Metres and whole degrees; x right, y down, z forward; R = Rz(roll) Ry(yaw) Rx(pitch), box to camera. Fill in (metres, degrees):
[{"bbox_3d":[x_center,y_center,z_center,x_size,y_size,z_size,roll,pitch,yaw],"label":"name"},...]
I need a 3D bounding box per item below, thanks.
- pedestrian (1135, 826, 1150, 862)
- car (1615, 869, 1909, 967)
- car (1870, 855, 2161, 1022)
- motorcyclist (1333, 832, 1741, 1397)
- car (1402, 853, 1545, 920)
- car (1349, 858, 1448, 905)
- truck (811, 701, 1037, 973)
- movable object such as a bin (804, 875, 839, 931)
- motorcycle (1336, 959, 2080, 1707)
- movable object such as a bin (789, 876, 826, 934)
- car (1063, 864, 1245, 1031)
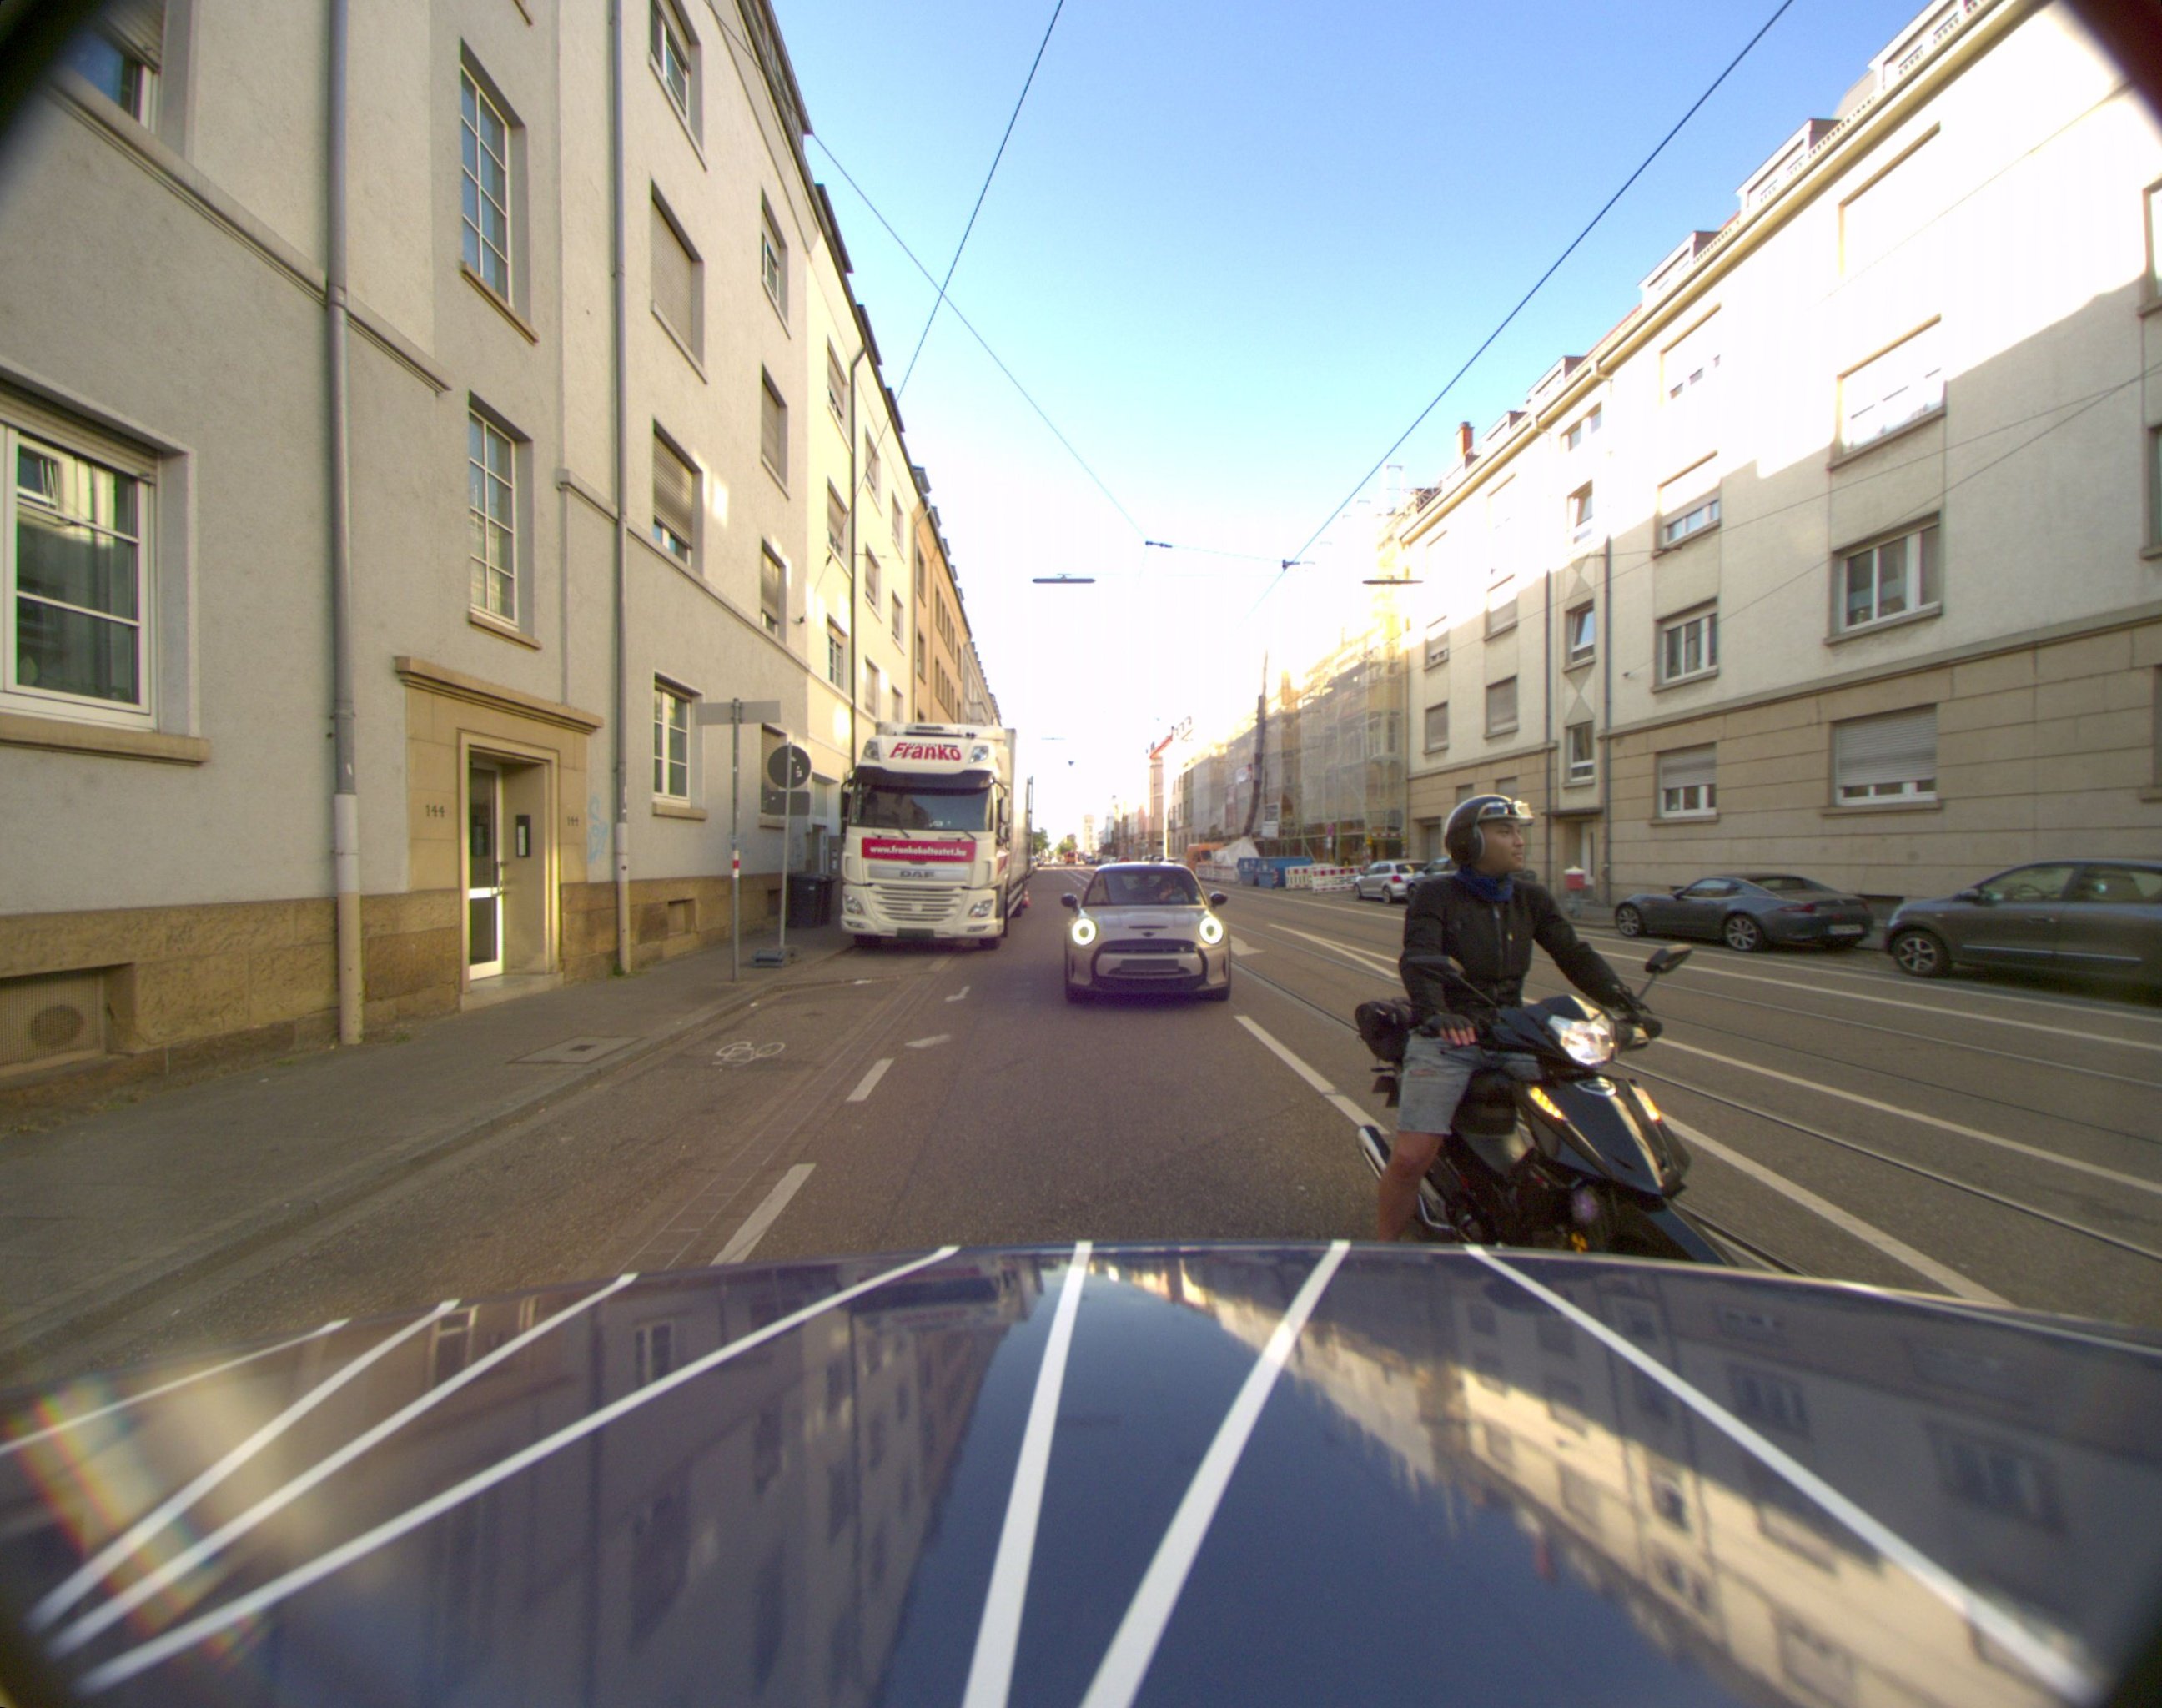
[{"bbox_3d":[7.650,-1.283,94.367,1.723,4.377,1.153,-2,1,2],"label":"pedestrian"},{"bbox_3d":[11.259,0.979,12.917,1.751,1.269,3.488,-2,1,-4],"label":"car"},{"bbox_3d":[11.419,0.837,8.411,1.670,1.563,3.496,-2,1,-2],"label":"car"},{"bbox_3d":[1.324,0.703,2.336,0.862,1.496,0.598,-2,1,1],"label":"motorcyclist"},{"bbox_3d":[10.818,0.814,21.291,1.712,1.582,4.112,-2,1,-3],"label":"car"},{"bbox_3d":[10.644,0.870,25.771,1.637,1.383,3.643,-2,1,-3],"label":"car"},{"bbox_3d":[-2.672,-0.246,17.162,2.899,3.939,11.704,-2,0,-2],"label":"truck"},{"bbox_3d":[-5.304,1.001,15.541,0.512,1.085,0.495,-2,1,-4],"label":"movable object such as a bin"},{"bbox_3d":[1.352,1.068,2.218,0.538,1.212,1.981,-2,1,1],"label":"motorcycle"},{"bbox_3d":[-5.377,0.998,14.952,0.512,1.085,0.495,-2,1,-4],"label":"movable object such as a bin"},{"bbox_3d":[0.673,0.893,9.061,1.692,1.495,4.000,0,0,0],"label":"car"}]
